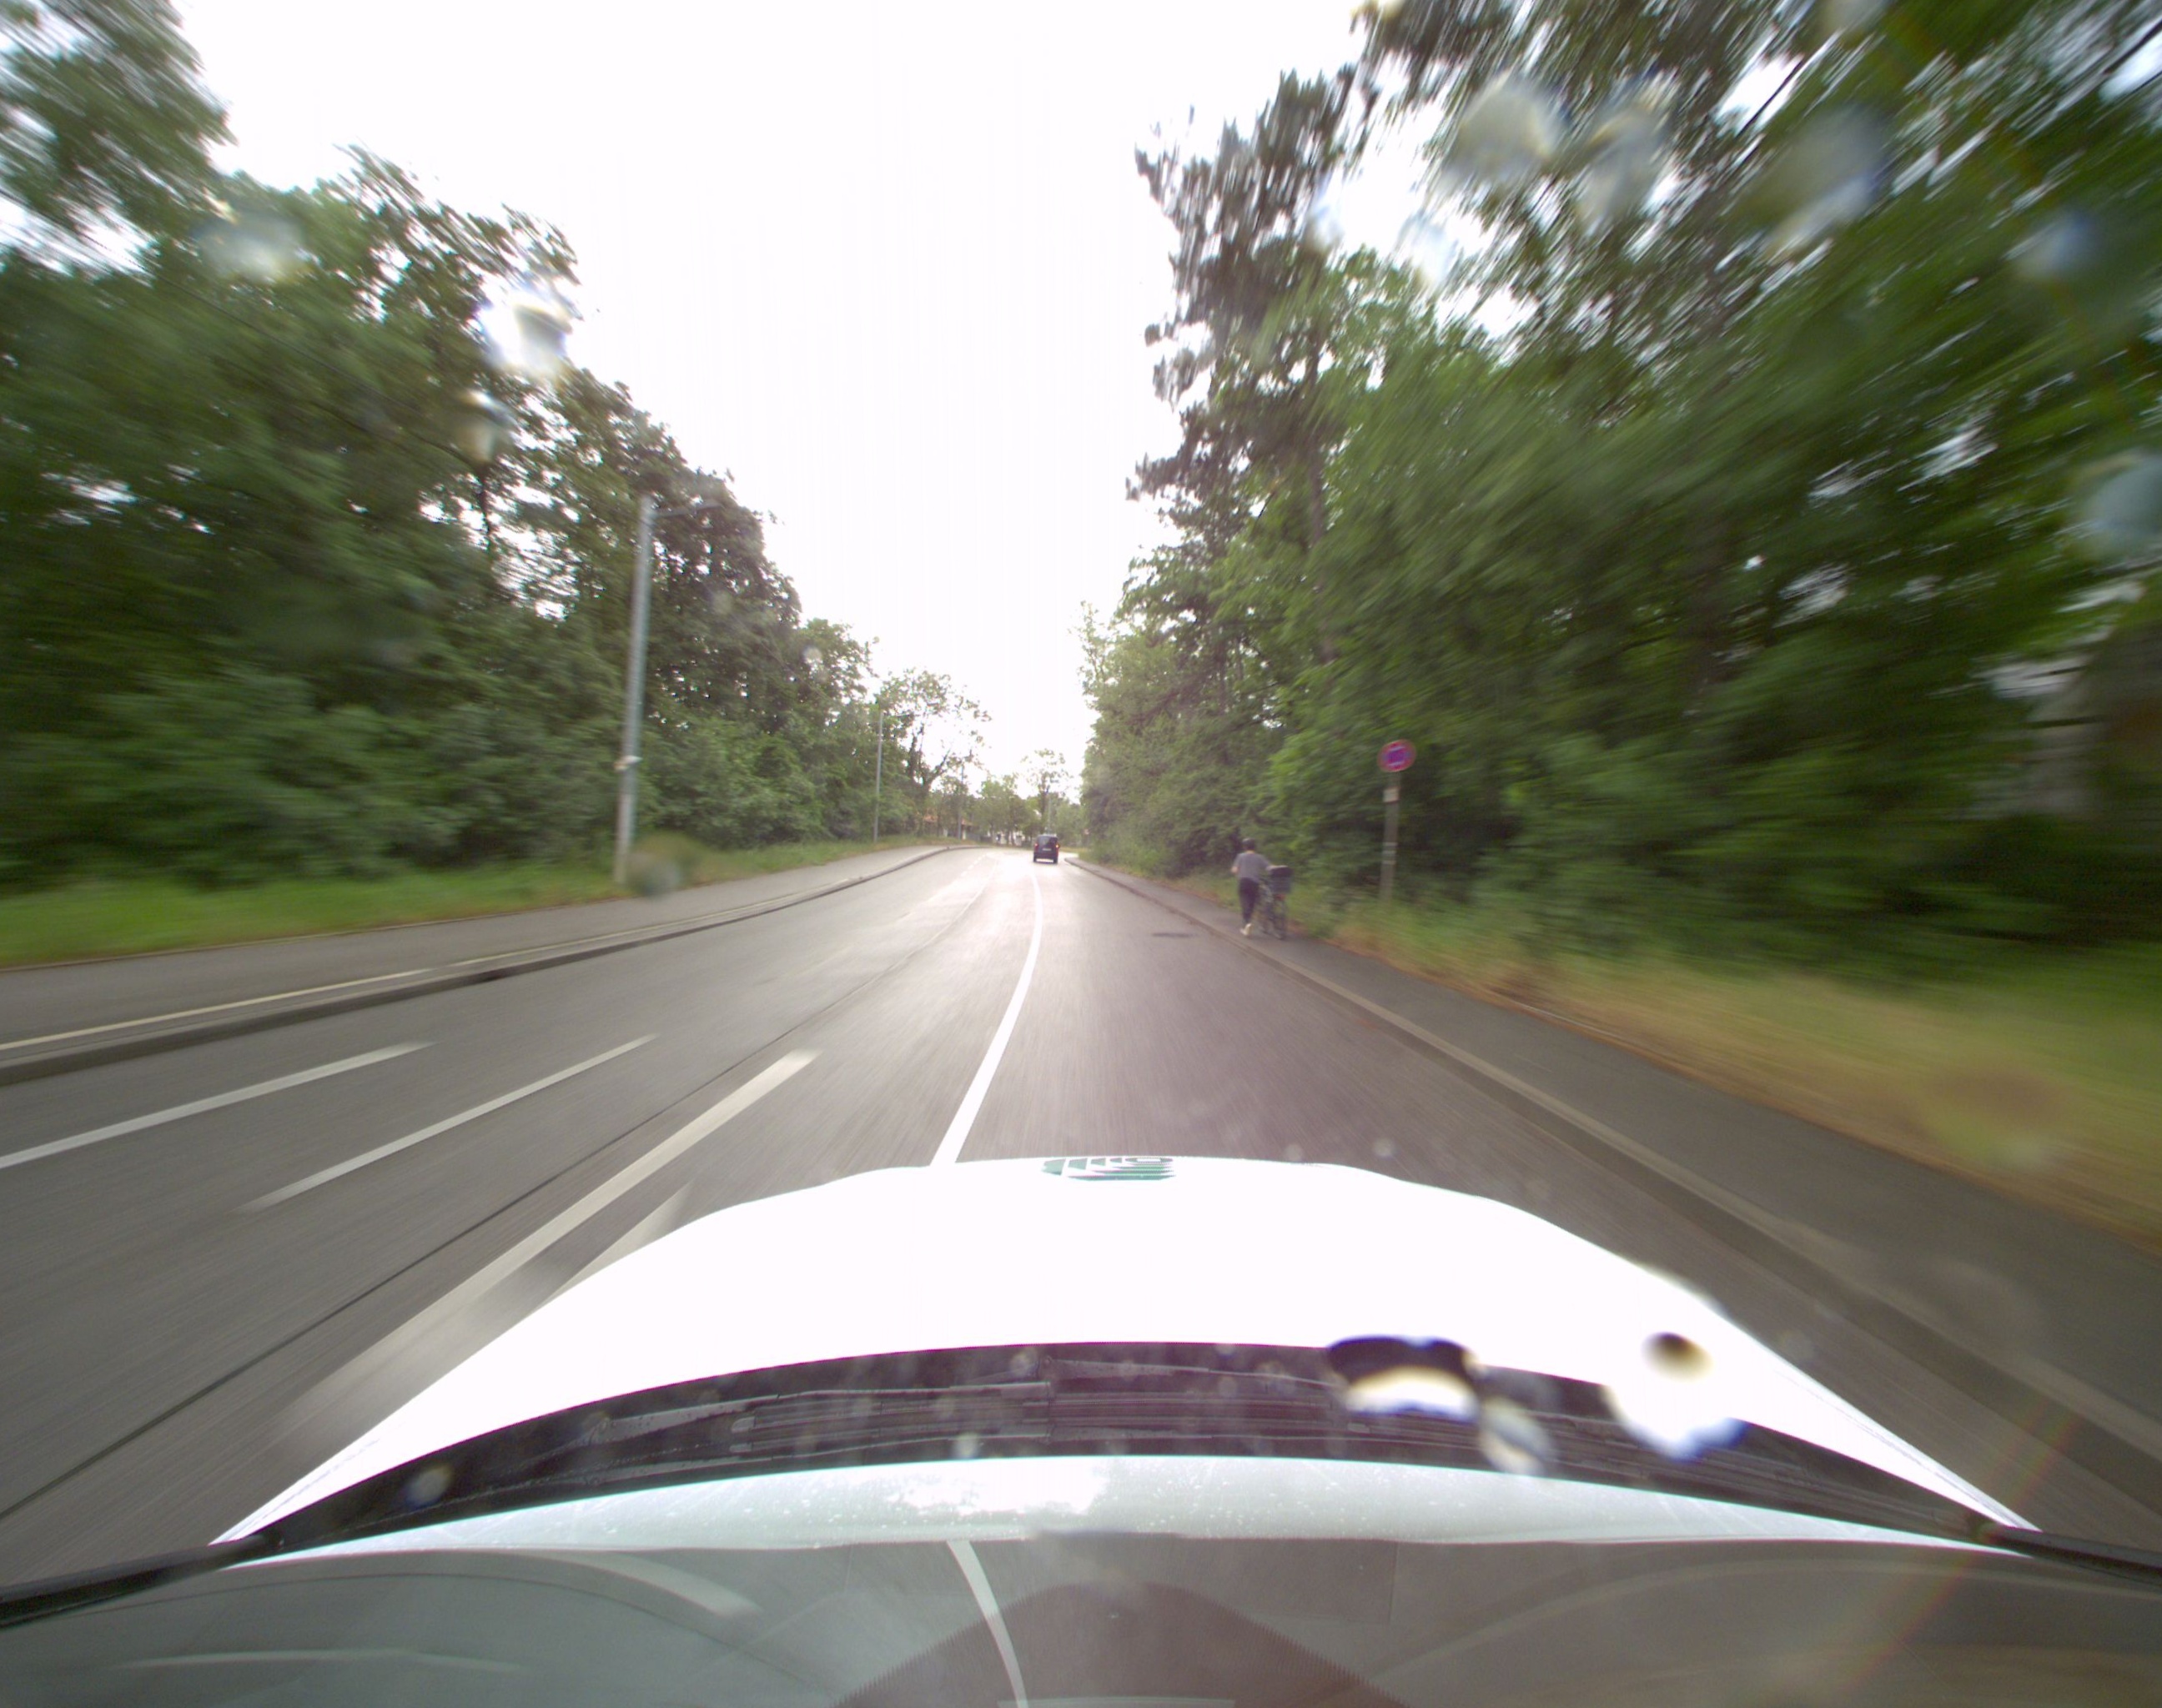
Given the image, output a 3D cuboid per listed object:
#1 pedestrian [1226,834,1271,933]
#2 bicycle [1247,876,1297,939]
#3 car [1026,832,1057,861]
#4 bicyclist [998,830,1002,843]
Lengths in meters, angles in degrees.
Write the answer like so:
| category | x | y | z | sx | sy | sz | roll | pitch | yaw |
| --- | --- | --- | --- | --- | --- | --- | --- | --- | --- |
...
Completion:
| category | x | y | z | sx | sy | sz | roll | pitch | yaw |
| --- | --- | --- | --- | --- | --- | --- | --- | --- | --- |
| pedestrian | 2.725 | 0.485 | 13.327 | 0.562 | 1.577 | 0.769 | 0 | -2 | -1 |
| bicycle | 3.088 | 0.843 | 13.298 | 0.354 | 0.849 | 1.742 | -2 | 2 | -1 |
| car | -2.708 | -0.476 | 55.141 | 1.826 | 1.794 | 3.989 | 0 | -1 | -7 |
| bicyclist | -9.429 | -2.034 | 95.144 | 0.335 | 1.574 | 1.297 | 2 | 1 | -2 |
